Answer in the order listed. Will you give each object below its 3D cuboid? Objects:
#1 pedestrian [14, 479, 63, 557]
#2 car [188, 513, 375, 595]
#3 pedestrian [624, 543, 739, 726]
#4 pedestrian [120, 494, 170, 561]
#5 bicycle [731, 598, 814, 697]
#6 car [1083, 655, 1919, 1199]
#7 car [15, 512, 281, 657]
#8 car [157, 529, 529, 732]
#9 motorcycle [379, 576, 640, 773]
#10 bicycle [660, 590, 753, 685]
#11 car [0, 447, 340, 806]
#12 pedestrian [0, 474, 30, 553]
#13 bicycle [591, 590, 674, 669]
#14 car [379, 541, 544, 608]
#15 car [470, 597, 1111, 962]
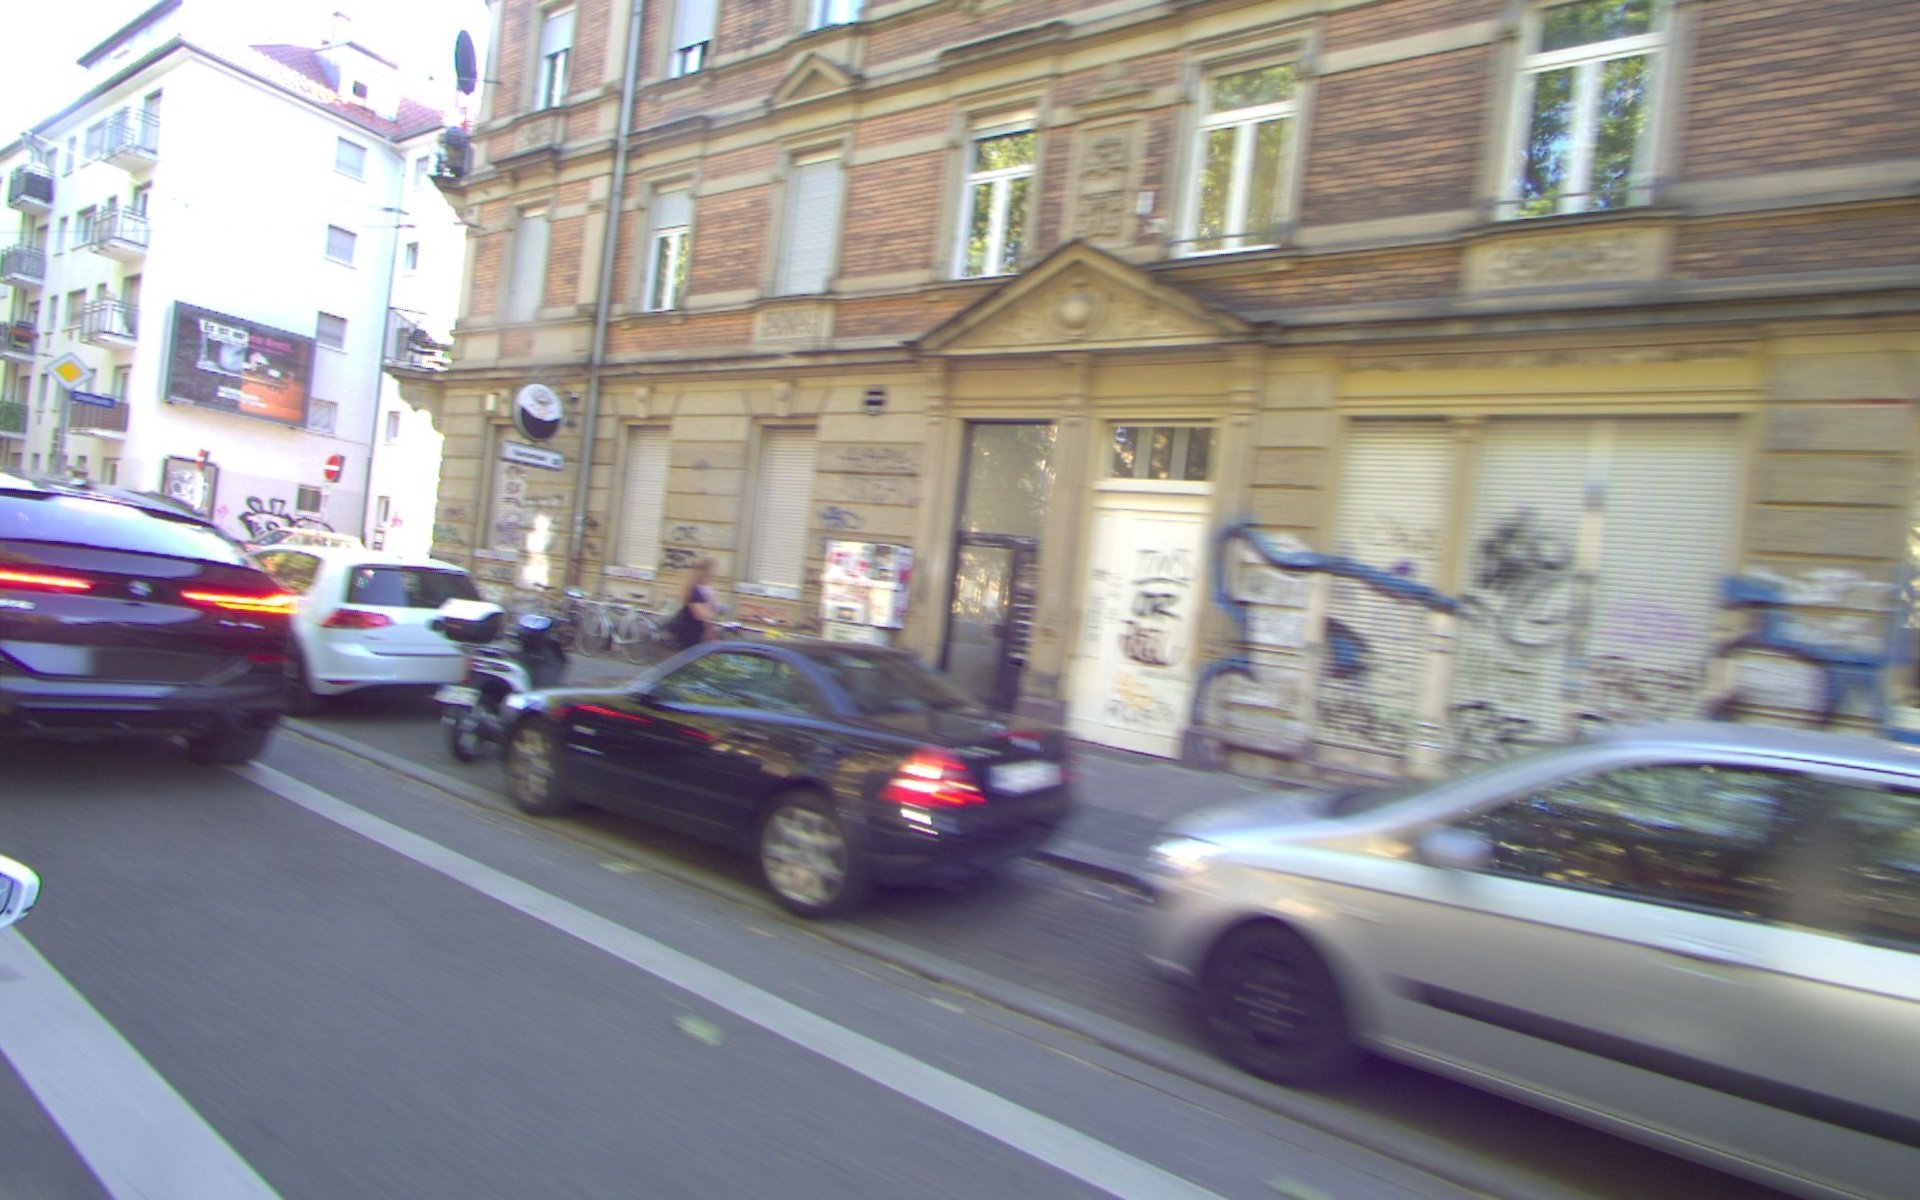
[{"bbox_3d":[-23.065,-2.061,25.185,1.065,1.846,0.624,6,1,37],"label":"pedestrian"},{"bbox_3d":[-17.739,-1.166,26.419,1.764,1.593,3.647,7,-1,40],"label":"car"},{"bbox_3d":[-2.755,0.336,10.021,0.752,1.677,0.717,7,0,1],"label":"pedestrian"},{"bbox_3d":[-21.171,-1.879,26.135,0.919,1.598,0.632,6,-2,37],"label":"pedestrian"},{"bbox_3d":[-2.496,0.618,13.365,1.121,1.168,0.273,7,1,37],"label":"bicycle"},{"bbox_3d":[2.507,1.159,3.627,3.683,1.471,1.605,6,1,36],"label":"car"},{"bbox_3d":[-10.476,-0.232,12.888,3.997,1.439,1.648,6,1,36],"label":"car"},{"bbox_3d":[-6.116,0.204,9.817,3.950,1.439,1.601,6,1,35],"label":"car"},{"bbox_3d":[-3.503,0.568,8.103,0.631,1.304,2.142,7,-1,13],"label":"motorcycle"},{"bbox_3d":[-3.558,0.512,14.065,1.351,1.168,0.378,7,1,37],"label":"bicycle"},{"bbox_3d":[-6.176,-0.033,6.548,4.558,1.725,1.945,7,-1,36],"label":"car"},{"bbox_3d":[-23.450,-2.136,24.637,1.065,1.846,0.709,6,1,37],"label":"pedestrian"},{"bbox_3d":[-4.890,0.432,14.994,1.351,1.013,0.378,7,0,37],"label":"bicycle"},{"bbox_3d":[-14.993,-0.726,30.437,1.762,1.472,4.027,7,-1,35],"label":"car"},{"bbox_3d":[-1.156,0.826,6.134,3.665,1.289,1.649,6,1,35],"label":"car"}]
